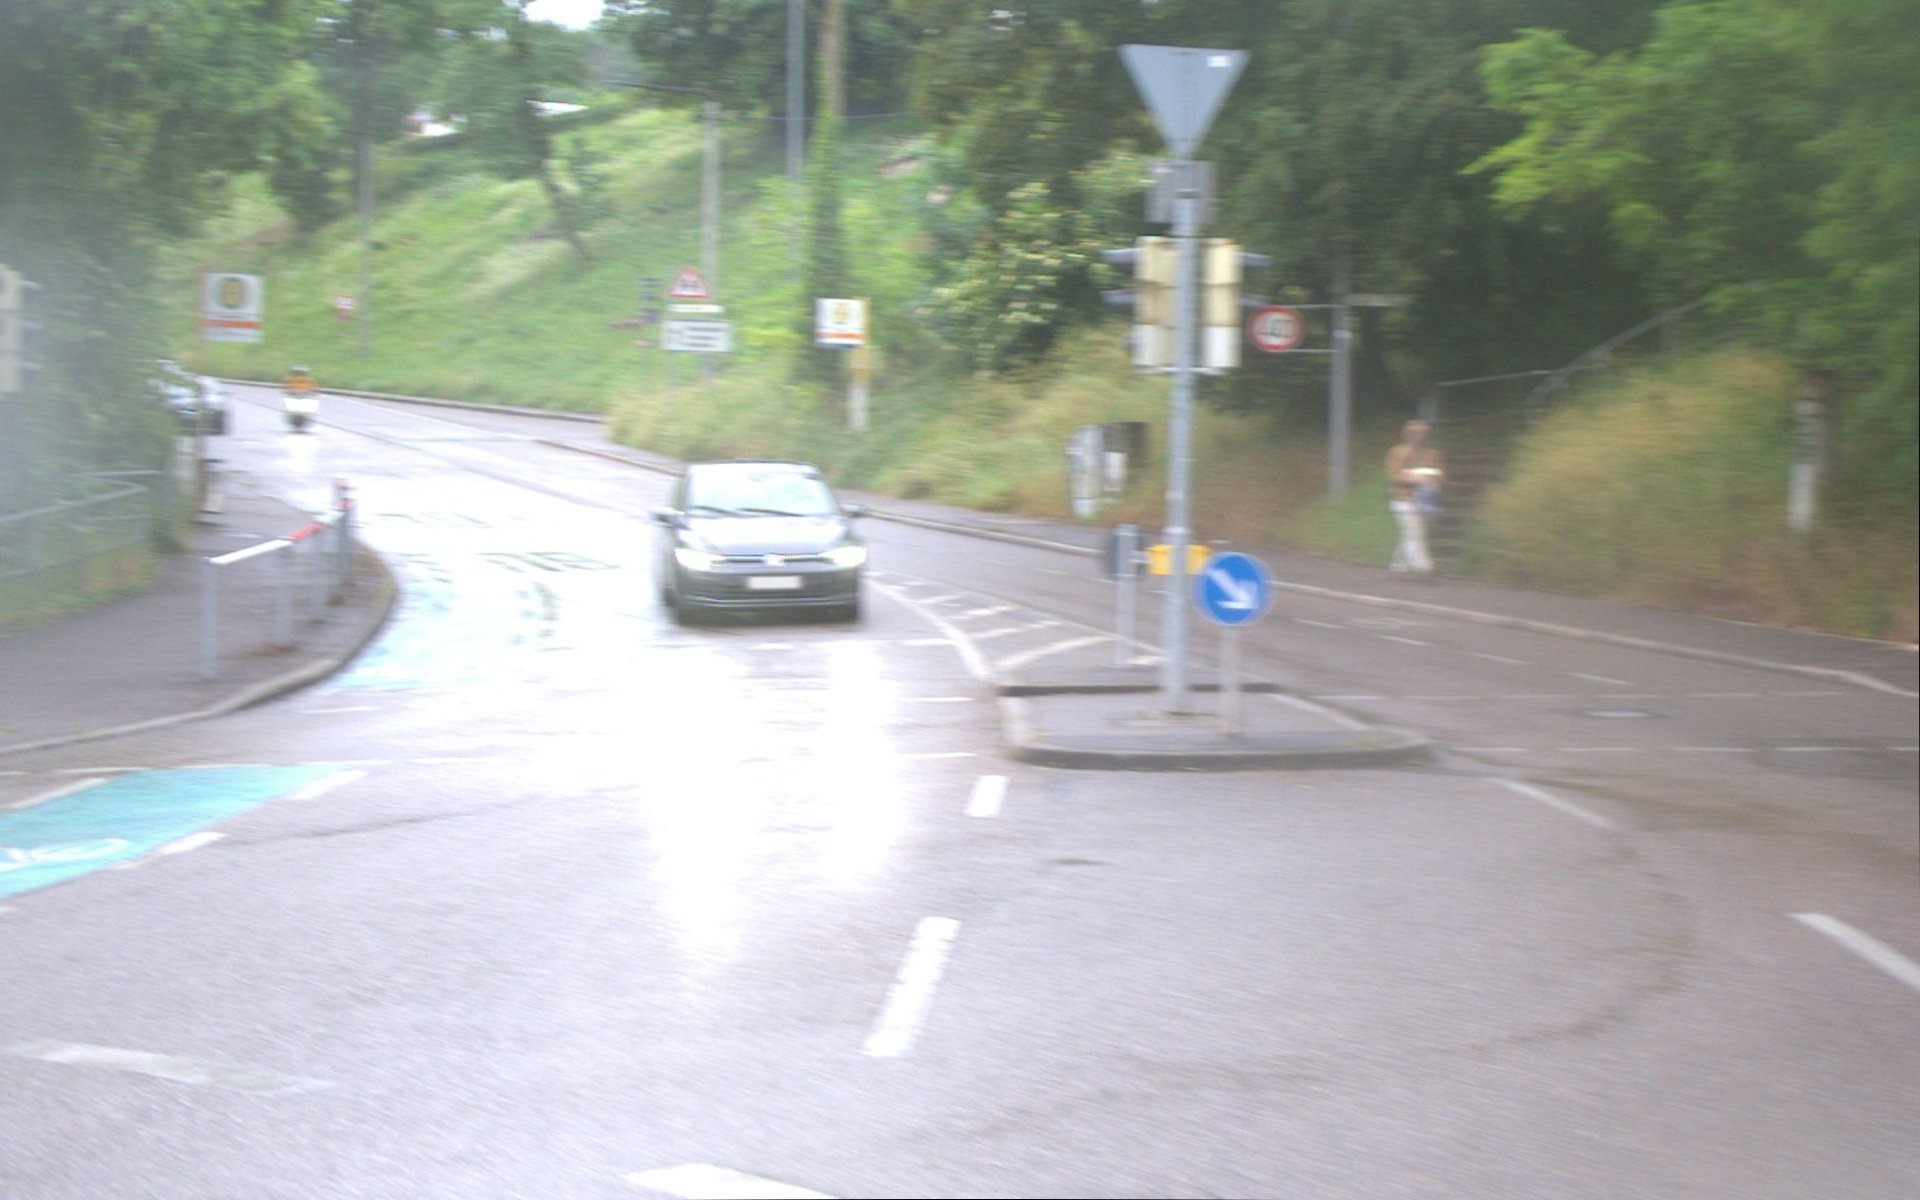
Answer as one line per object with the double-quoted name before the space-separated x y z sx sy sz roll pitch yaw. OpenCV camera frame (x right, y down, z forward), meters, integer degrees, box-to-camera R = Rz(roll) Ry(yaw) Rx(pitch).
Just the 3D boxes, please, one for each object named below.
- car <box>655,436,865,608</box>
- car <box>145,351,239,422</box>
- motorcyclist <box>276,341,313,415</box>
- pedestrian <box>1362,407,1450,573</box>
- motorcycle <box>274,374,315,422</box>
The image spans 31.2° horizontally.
"car" -1.929 -0.818 33.404 1.882 1.516 4.693 -1 3 -3
"car" -19.463 -5.423 87.024 1.835 1.685 4.002 -1 5 -20
"motorcyclist" -17.070 -5.697 88.149 0.884 1.866 1.255 0 4 -13
"pedestrian" 4.818 -1.194 37.177 0.647 1.746 0.800 1 4 -12
"motorcycle" -17.079 -5.187 88.162 0.938 1.139 2.647 0 4 -13
